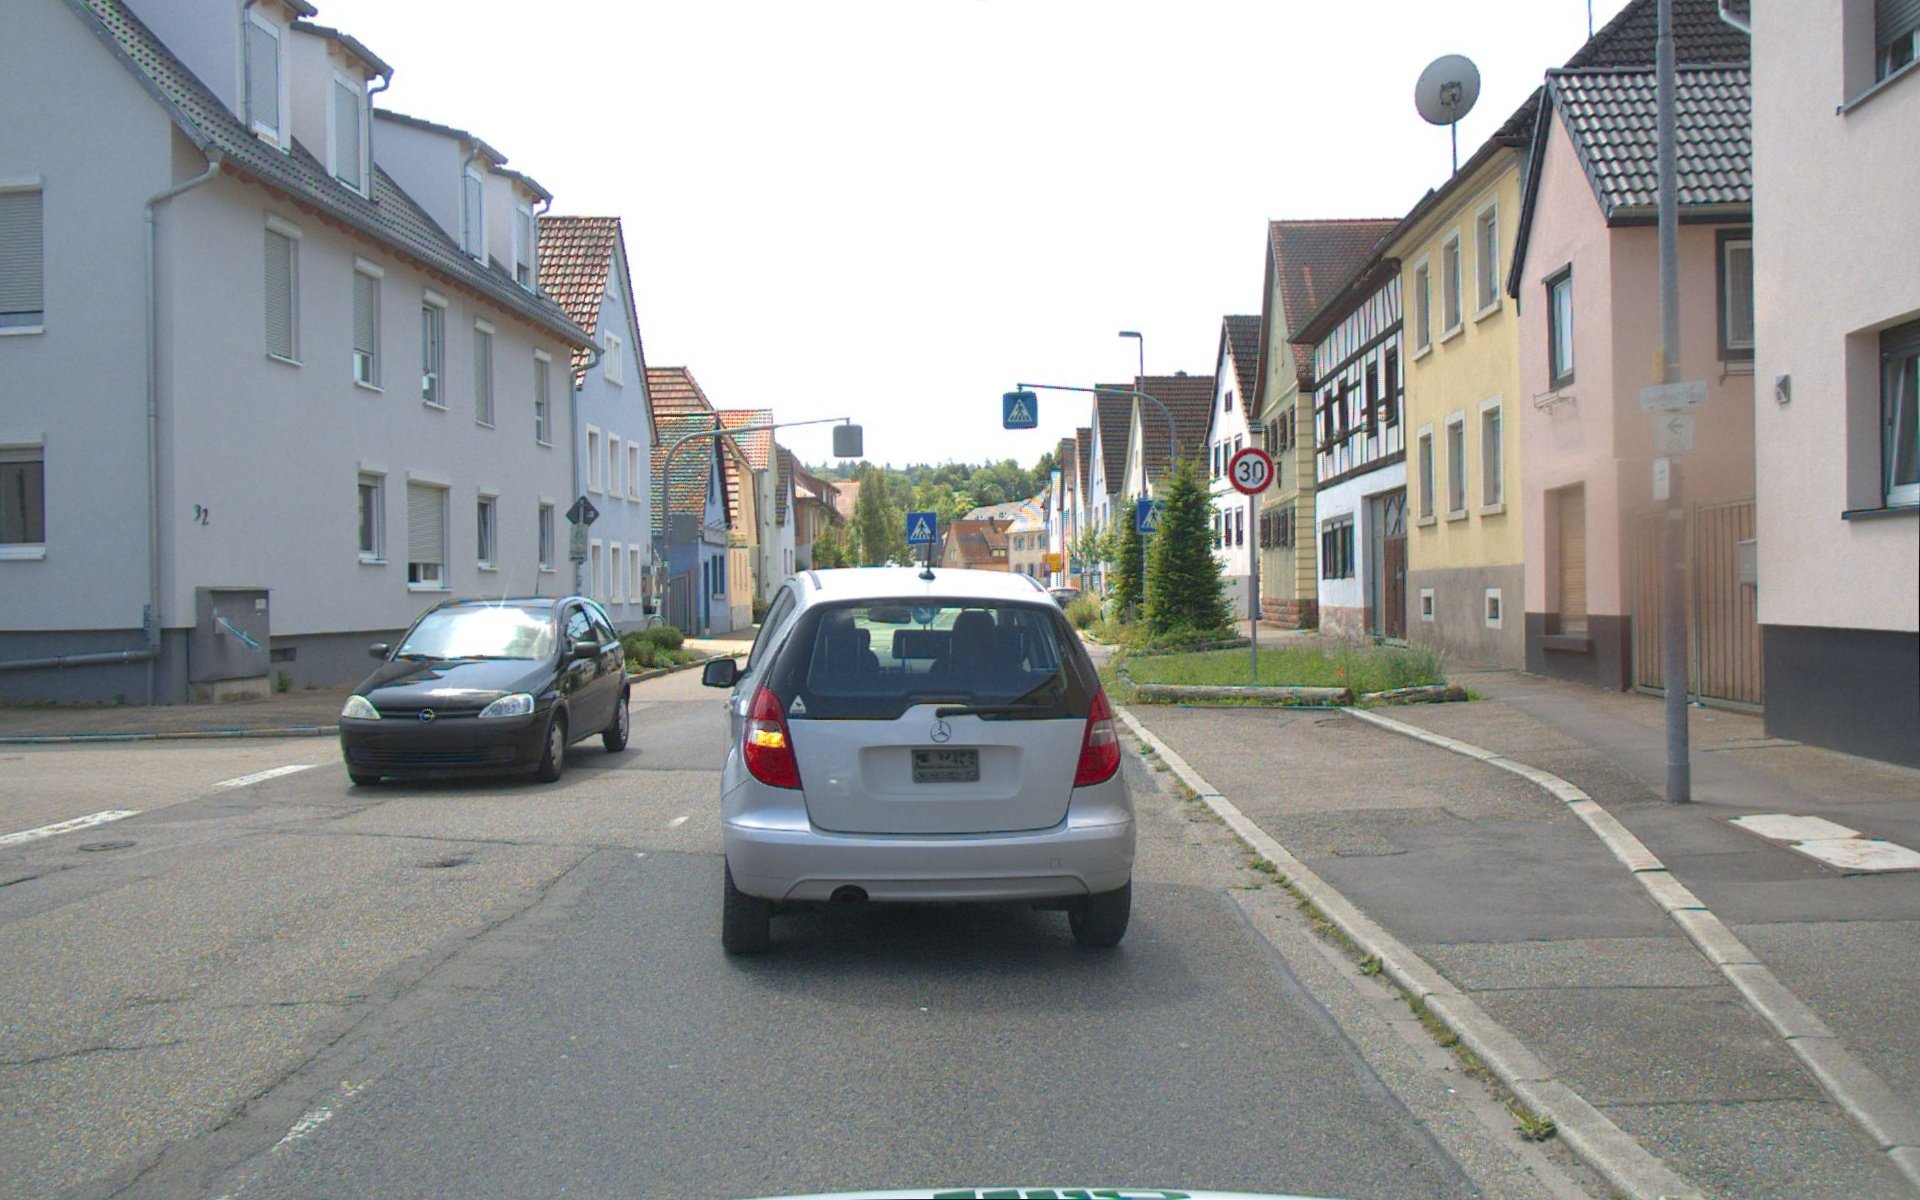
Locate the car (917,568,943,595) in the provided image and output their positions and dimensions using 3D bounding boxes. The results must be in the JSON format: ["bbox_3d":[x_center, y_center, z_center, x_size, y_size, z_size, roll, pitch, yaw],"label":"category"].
[{"bbox_3d":[-2.398,-1.492,133.521,1.952,2.049,4.000,0,-2,1],"label":"car"}]

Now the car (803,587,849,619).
[{"bbox_3d":[-5.942,0.146,72.999,1.955,1.344,3.704,0,-2,-5],"label":"car"}]

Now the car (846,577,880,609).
[{"bbox_3d":[-5.364,-0.357,91.625,1.633,1.624,3.999,0,-2,0],"label":"car"}]

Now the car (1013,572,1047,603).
[{"bbox_3d":[4.479,-0.783,105.876,1.953,1.848,3.998,0,-2,-1],"label":"car"}]

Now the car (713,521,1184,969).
[{"bbox_3d":[-0.249,0.565,8.156,1.776,1.672,3.723,1,0,-7],"label":"car"}]

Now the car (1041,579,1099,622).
[{"bbox_3d":[4.112,0.050,62.365,1.953,1.534,3.999,0,-2,0],"label":"car"}]

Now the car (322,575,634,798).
[{"bbox_3d":[-3.807,0.660,13.684,1.469,1.567,3.855,-1,-1,0],"label":"car"}]

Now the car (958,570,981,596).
[{"bbox_3d":[0.826,-1.450,141.799,1.953,2.049,3.999,0,-2,0],"label":"car"}]

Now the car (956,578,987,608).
[{"bbox_3d":[0.763,-0.456,111.735,1.953,1.848,3.998,0,-2,-1],"label":"car"}]

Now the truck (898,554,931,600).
[{"bbox_3d":[-2.744,-1.349,101.705,1.953,2.581,6.737,0,-2,-1],"label":"truck"}]

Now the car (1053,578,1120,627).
[{"bbox_3d":[4.238,0.114,55.829,1.953,1.534,3.999,0,-2,0],"label":"car"}]
